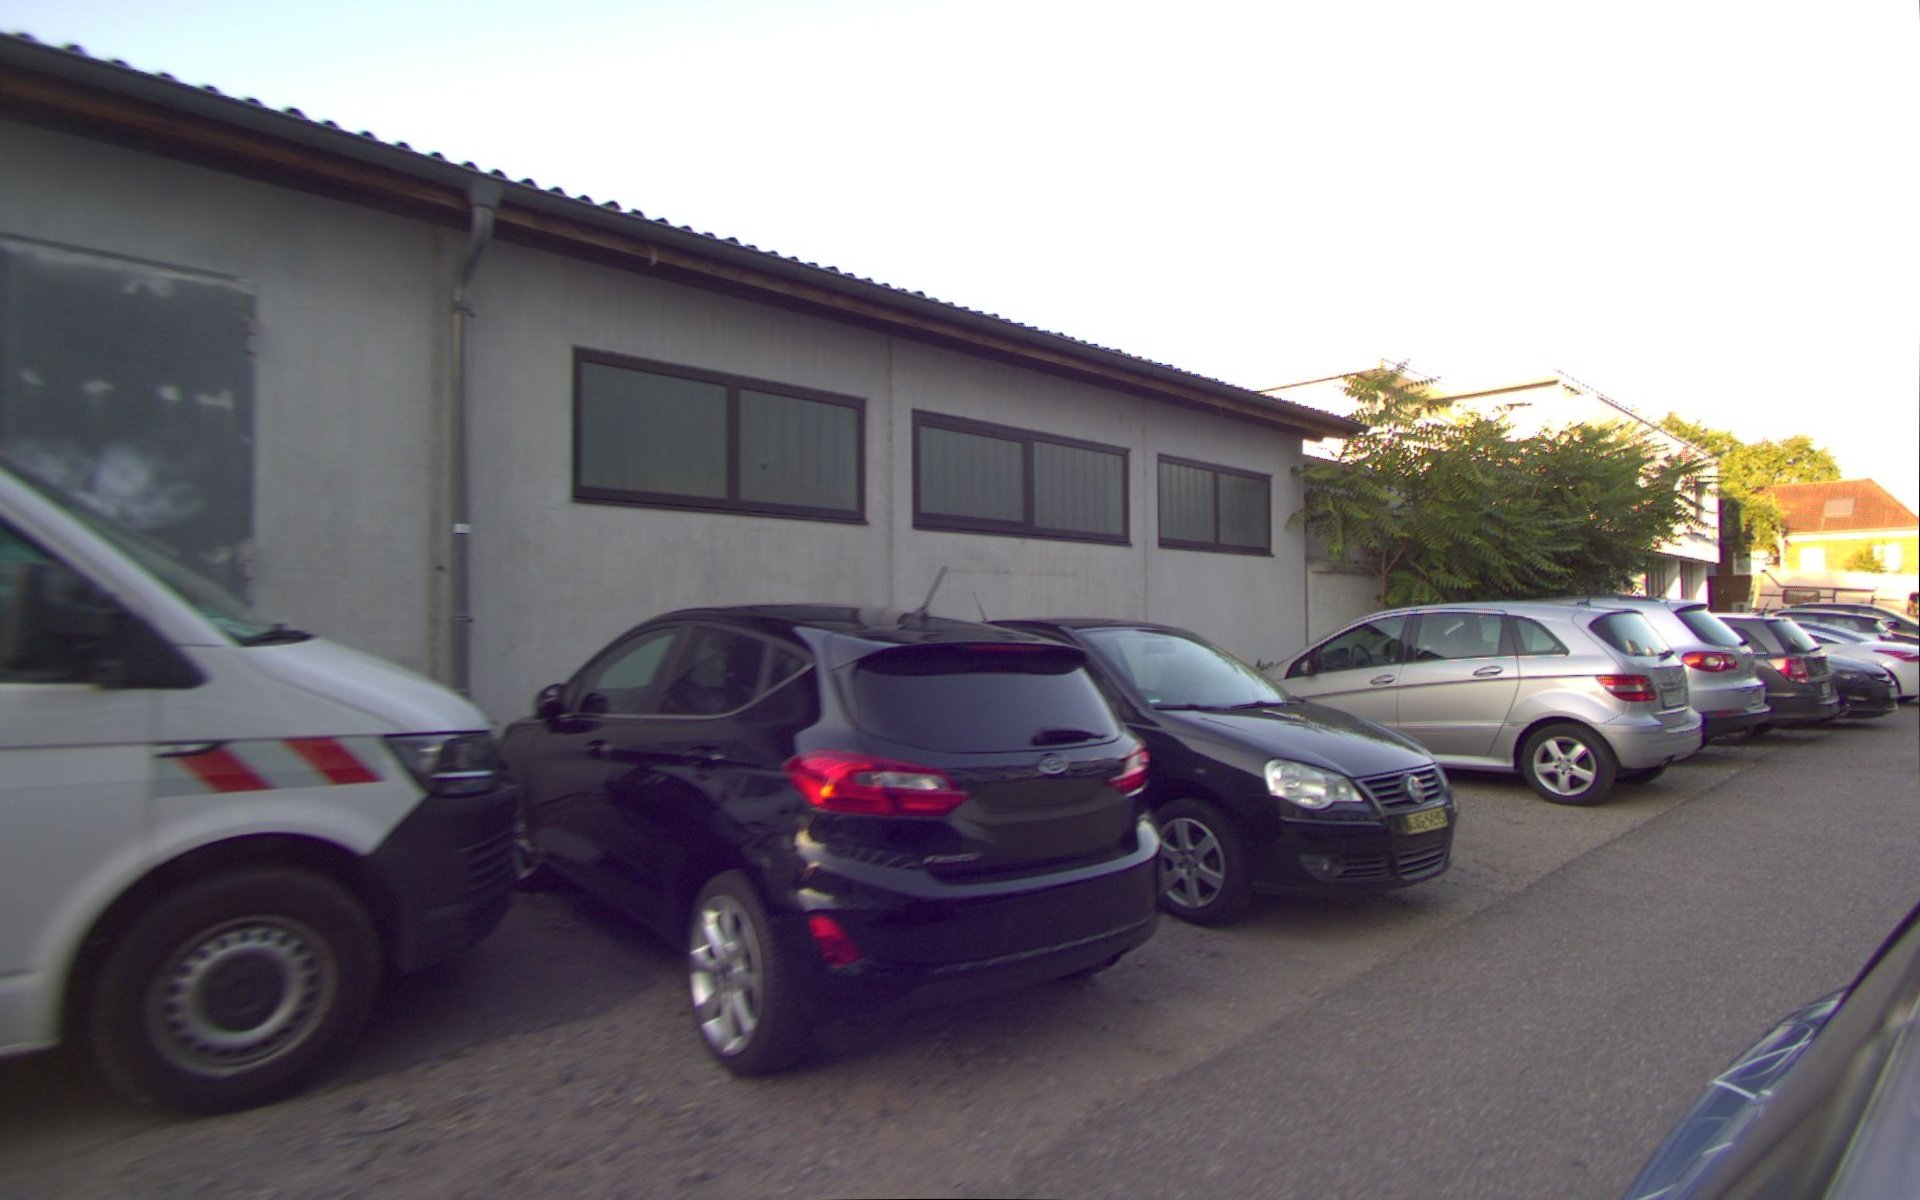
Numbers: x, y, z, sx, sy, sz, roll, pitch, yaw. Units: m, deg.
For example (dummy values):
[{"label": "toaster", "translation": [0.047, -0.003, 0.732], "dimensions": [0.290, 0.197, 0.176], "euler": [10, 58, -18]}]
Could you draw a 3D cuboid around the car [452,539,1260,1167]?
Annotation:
[{"label": "car", "translation": [-0.806, 0.700, 4.588], "dimensions": [1.857, 1.556, 3.766], "euler": [2, -3, -40]}]

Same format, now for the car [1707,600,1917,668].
[{"label": "car", "translation": [20.633, 0.774, 24.620], "dimensions": [1.682, 1.498, 3.712], "euler": [1, 0, -40]}]

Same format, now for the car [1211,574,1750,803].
[{"label": "car", "translation": [4.575, 0.703, 9.386], "dimensions": [1.904, 1.630, 3.990], "euler": [1, -2, -40]}]

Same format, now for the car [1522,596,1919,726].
[{"label": "car", "translation": [10.505, 0.778, 14.153], "dimensions": [1.855, 1.522, 4.212], "euler": [-1, -2, -37]}]

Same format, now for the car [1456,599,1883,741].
[{"label": "car", "translation": [8.637, 0.788, 12.632], "dimensions": [1.794, 1.464, 3.992], "euler": [0, -2, -38]}]

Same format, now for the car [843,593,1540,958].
[{"label": "car", "translation": [1.095, 0.762, 6.119], "dimensions": [1.812, 1.463, 3.765], "euler": [0, -2, -40]}]

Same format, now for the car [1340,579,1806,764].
[{"label": "car", "translation": [6.512, 0.708, 11.094], "dimensions": [1.796, 1.640, 3.988], "euler": [1, -3, -42]}]

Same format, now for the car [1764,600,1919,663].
[{"label": "car", "translation": [24.245, 0.806, 27.129], "dimensions": [1.683, 1.583, 4.008], "euler": [1, 0, -43]}]

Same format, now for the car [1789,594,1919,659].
[{"label": "car", "translation": [26.689, 0.723, 28.943], "dimensions": [1.930, 1.763, 4.255], "euler": [0, 0, -34]}]

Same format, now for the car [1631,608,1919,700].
[{"label": "car", "translation": [14.222, 0.879, 17.288], "dimensions": [1.788, 1.385, 4.214], "euler": [1, -2, -35]}]

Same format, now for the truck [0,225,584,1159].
[{"label": "truck", "translation": [-4.045, 0.219, 2.323], "dimensions": [5.609, 2.229, 2.102], "euler": [0, -1, -40]}]

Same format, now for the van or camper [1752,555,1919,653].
[{"label": "van or camper", "translation": [28.538, 0.123, 31.474], "dimensions": [2.443, 2.900, 5.791], "euler": [0, 0, -40]}]
